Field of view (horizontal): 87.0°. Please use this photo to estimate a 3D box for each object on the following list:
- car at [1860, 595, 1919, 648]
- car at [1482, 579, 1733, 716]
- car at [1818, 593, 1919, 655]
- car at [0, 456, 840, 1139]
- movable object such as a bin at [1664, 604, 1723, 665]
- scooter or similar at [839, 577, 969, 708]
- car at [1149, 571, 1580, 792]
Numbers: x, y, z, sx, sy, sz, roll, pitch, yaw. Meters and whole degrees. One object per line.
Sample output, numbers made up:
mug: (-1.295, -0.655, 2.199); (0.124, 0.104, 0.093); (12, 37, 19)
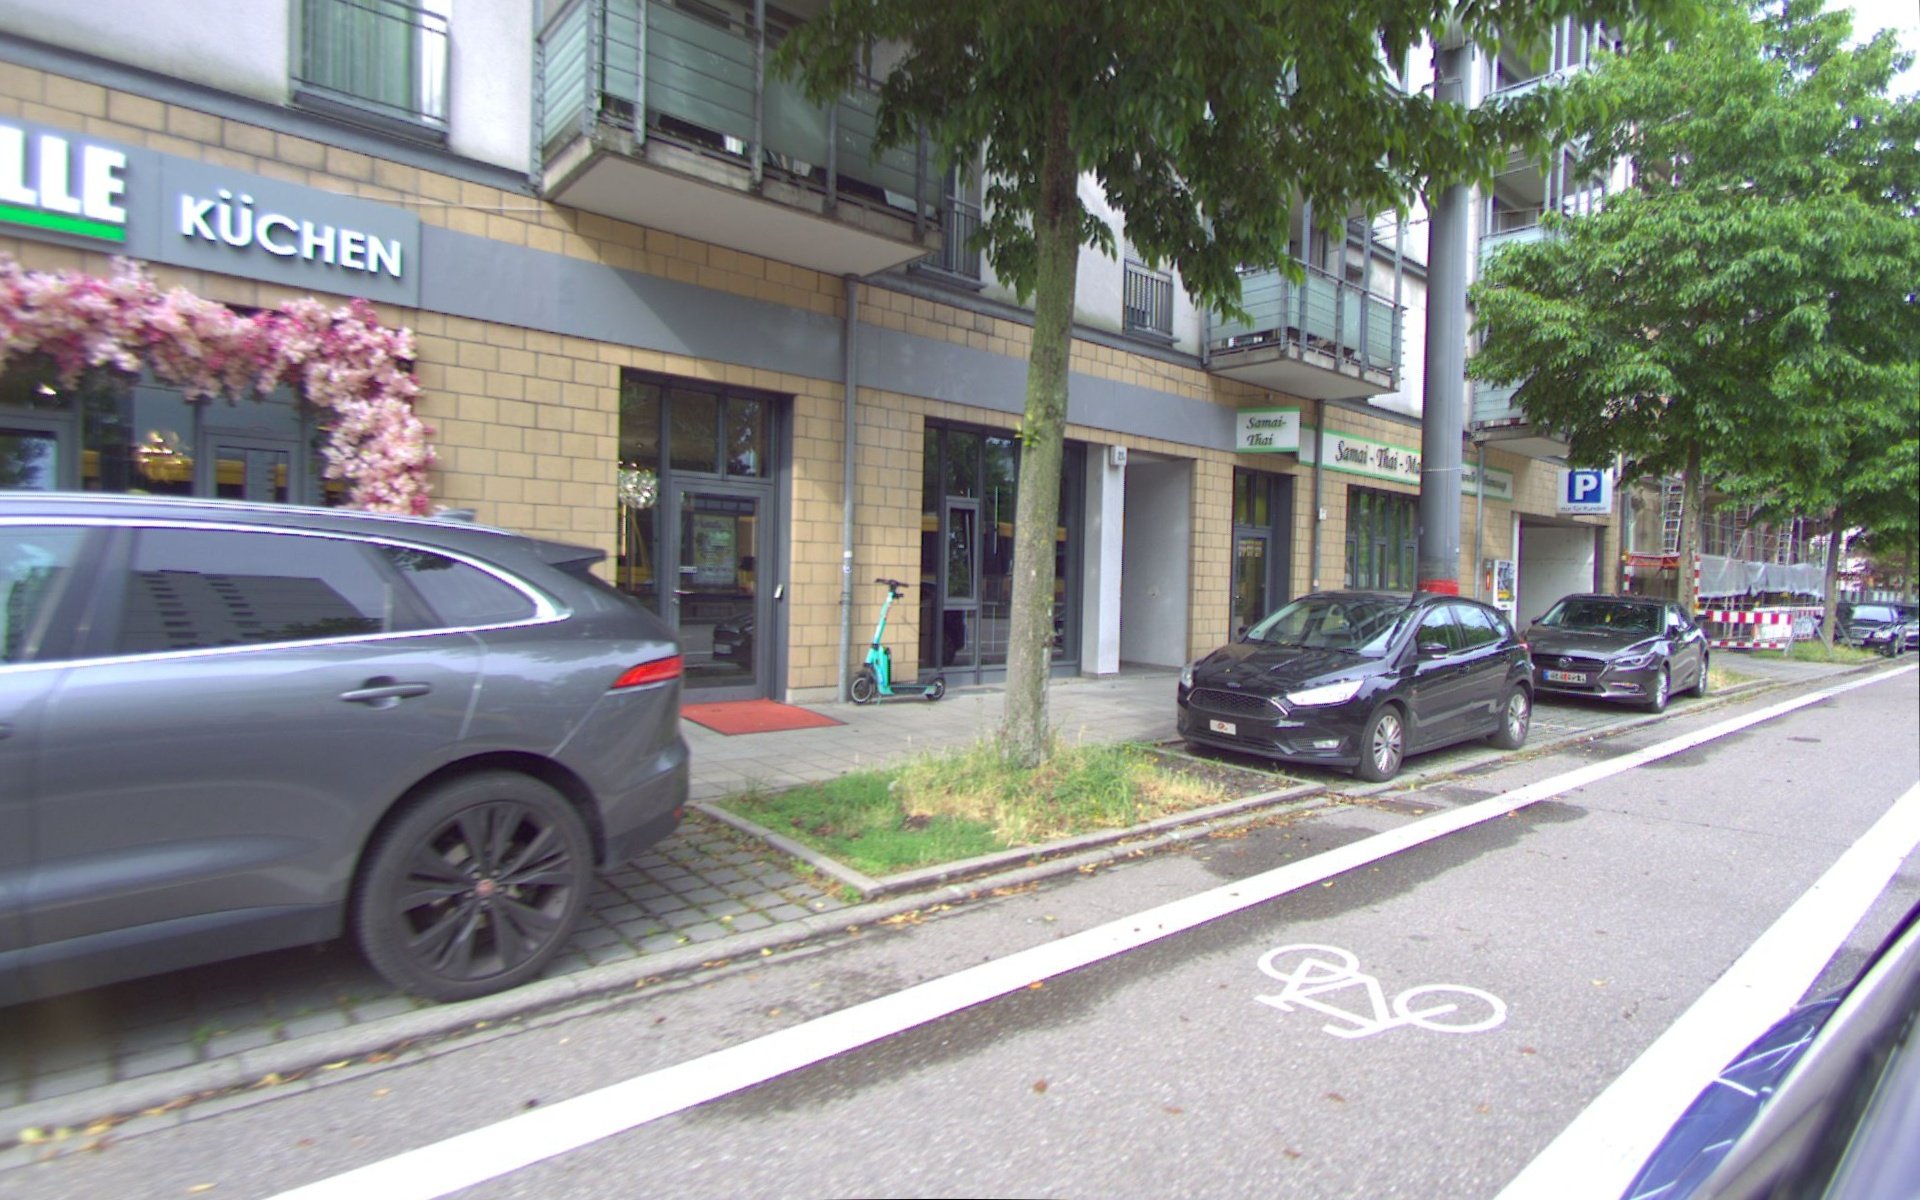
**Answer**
car: (29.712, 0.645, 31.693); (4.206, 1.478, 1.754); (0, 3, -41)
car: (8.931, 0.519, 13.806); (4.315, 1.472, 1.801); (-1, 5, -43)
car: (25.239, 0.611, 27.905); (4.206, 1.478, 1.754); (0, 3, -41)
car: (-2.811, 0.444, 3.342); (4.631, 1.737, 1.715); (0, 4, -42)
movable object such as a bin: (13.813, 0.636, 19.054); (0.531, 1.067, 0.763); (0, 2, -40)
scooter or similar: (-0.552, 0.396, 10.184); (1.193, 1.215, 0.518); (0, 4, -41)
car: (3.788, 0.546, 9.103); (4.329, 1.459, 1.681); (0, 4, -40)
